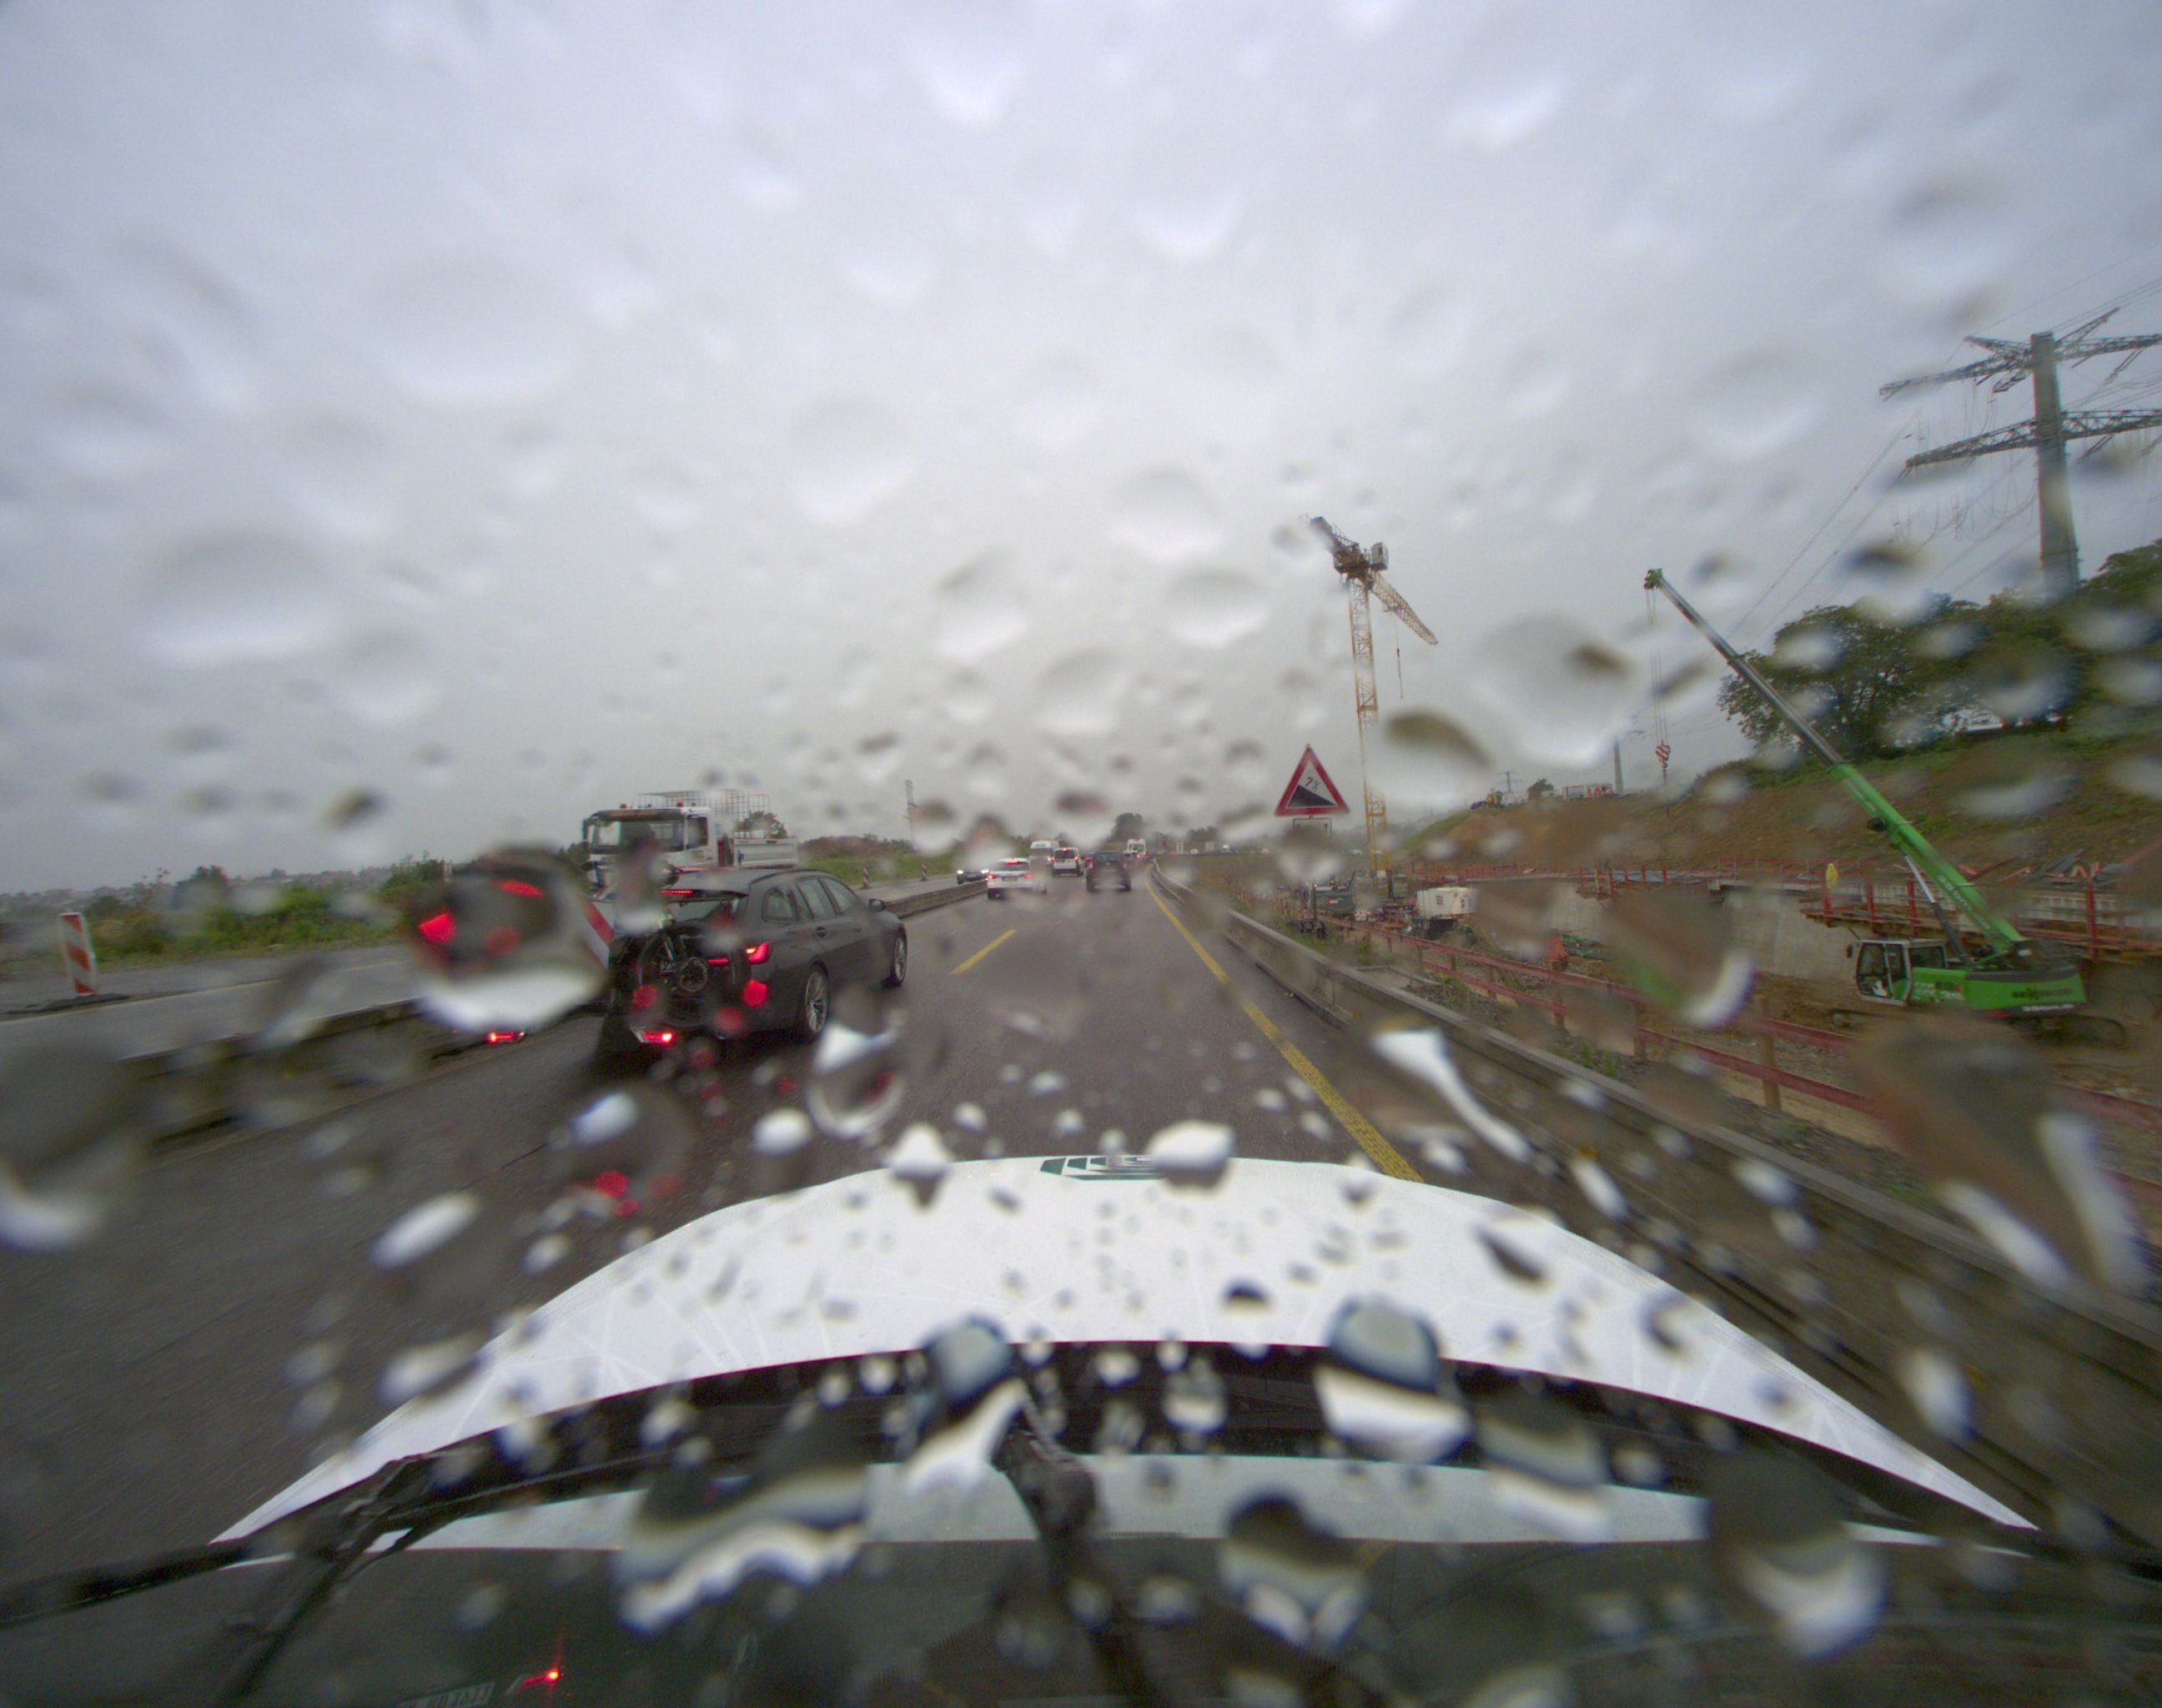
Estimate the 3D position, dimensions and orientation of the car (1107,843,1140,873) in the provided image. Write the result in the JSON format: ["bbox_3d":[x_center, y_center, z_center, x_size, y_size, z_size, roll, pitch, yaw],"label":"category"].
[{"bbox_3d":[2.722,0.277,51.435,1.817,1.815,4.007,-1,-1,6],"label":"car"}]

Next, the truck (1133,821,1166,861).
[{"bbox_3d":[9.250,-1.620,109.230,3.523,5.077,10.468,-1,-1,9],"label":"truck"}]

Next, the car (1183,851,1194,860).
[{"bbox_3d":[27.122,0.430,205.811,2.019,2.256,4.176,-1,-1,17],"label":"car"}]

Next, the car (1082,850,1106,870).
[{"bbox_3d":[1.229,0.525,76.180,1.816,1.815,4.008,-1,-1,7],"label":"car"}]

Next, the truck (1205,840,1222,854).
[{"bbox_3d":[37.420,-1.956,229.689,3.444,3.715,8.457,-2,0,18],"label":"truck"}]

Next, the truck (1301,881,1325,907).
[{"bbox_3d":[34.453,5.894,121.161,2.711,3.491,9.095,-1,-1,12],"label":"truck"}]

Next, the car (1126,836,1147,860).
[{"bbox_3d":[5.996,-0.636,87.279,1.815,2.437,4.169,-1,-1,10],"label":"car"}]

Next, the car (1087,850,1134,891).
[{"bbox_3d":[1.263,0.665,33.990,1.818,1.591,4.003,0,-1,3],"label":"car"}]

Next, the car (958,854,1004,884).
[{"bbox_3d":[-5.406,0.791,44.530,1.740,1.495,4.752,-1,0,2],"label":"car"}]

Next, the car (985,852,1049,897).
[{"bbox_3d":[-2.234,0.705,29.468,1.819,1.499,4.003,0,-1,3],"label":"car"}]

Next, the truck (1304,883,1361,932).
[{"bbox_3d":[20.580,4.259,67.137,2.686,3.503,8.962,-1,-1,6],"label":"truck"}]

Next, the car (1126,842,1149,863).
[{"bbox_3d":[5.103,-0.090,73.243,1.816,1.815,4.009,-1,-1,8],"label":"car"}]

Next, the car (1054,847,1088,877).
[{"bbox_3d":[-0.604,0.525,52.517,1.818,1.815,4.004,0,-1,4],"label":"car"}]

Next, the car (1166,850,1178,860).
[{"bbox_3d":[20.615,0.270,183.561,2.020,2.113,4.174,-1,-1,15],"label":"car"}]

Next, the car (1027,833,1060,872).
[{"bbox_3d":[-3.102,-0.128,69.023,1.984,3.045,7.179,0,0,4],"label":"car"}]

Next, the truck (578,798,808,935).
[{"bbox_3d":[-9.587,0.269,21.082,2.348,2.894,6.554,-3,0,3],"label":"truck"}]

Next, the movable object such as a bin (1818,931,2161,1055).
[{"bbox_3d":[23.782,3.507,21.696,3.777,2.805,4.856,-2,-5,2],"label":"movable object such as a bin"}]

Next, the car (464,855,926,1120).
[{"bbox_3d":[-2.933,0.836,7.889,1.729,1.462,5.629,-1,2,0],"label":"car"}]

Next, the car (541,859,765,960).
[{"bbox_3d":[-6.670,0.785,13.153,1.631,1.396,3.593,0,0,2],"label":"car"}]
